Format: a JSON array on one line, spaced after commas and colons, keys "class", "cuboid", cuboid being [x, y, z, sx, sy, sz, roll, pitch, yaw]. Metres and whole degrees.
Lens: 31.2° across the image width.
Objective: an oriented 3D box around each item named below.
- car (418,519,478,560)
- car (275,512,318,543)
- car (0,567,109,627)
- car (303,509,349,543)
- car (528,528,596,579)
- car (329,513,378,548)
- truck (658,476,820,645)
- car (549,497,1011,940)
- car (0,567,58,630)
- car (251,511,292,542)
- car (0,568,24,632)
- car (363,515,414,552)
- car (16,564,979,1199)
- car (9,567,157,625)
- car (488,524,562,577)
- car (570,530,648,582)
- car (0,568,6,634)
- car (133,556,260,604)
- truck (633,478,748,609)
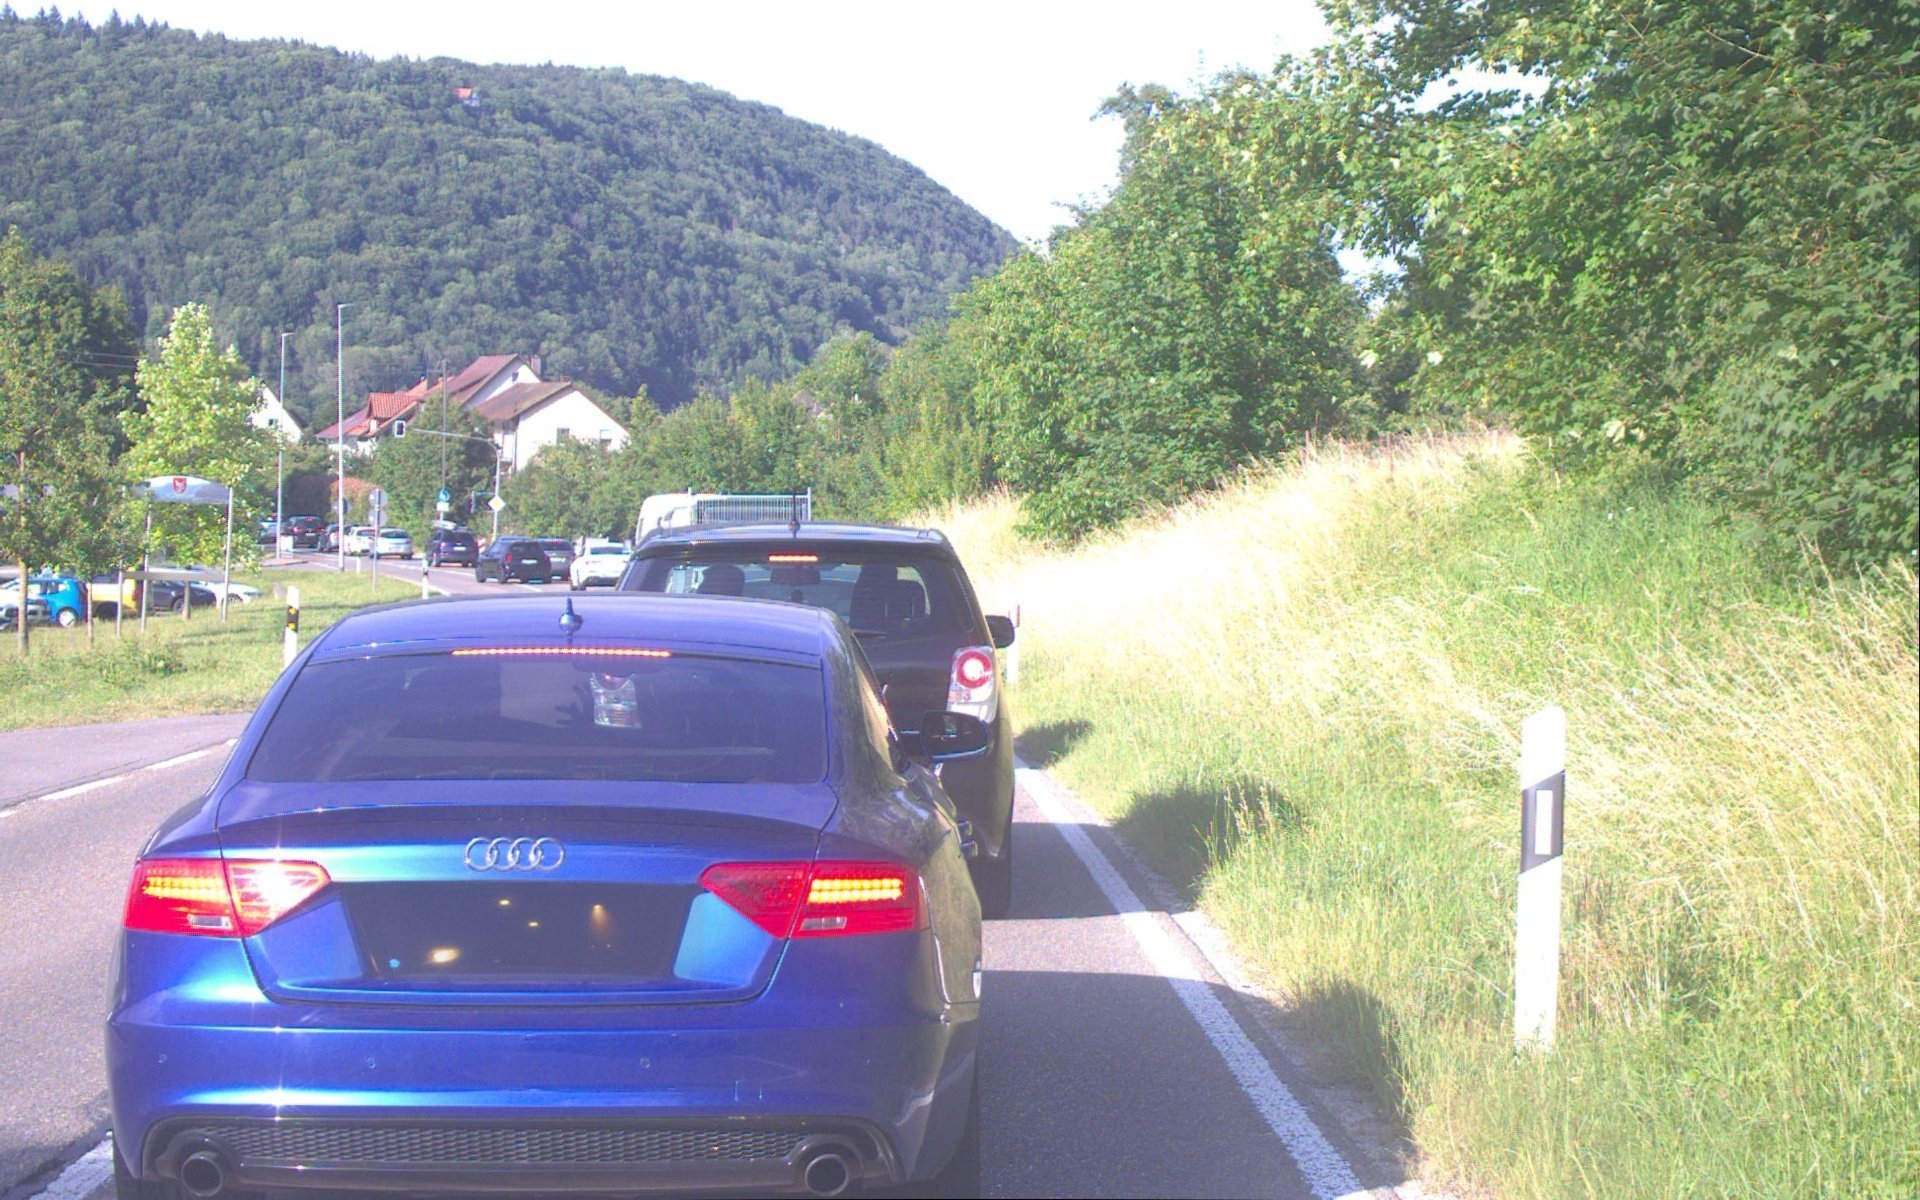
[{"class": "car", "cuboid": [-21.800, -2.569, 146.278, 1.845, 1.706, 4.001, 1, 1, -18]}, {"class": "car", "cuboid": [-36.764, -4.003, 190.382, 1.845, 1.706, 4.001, 1, 1, -18]}, {"class": "car", "cuboid": [-27.315, -0.112, 101.335, 3.986, 1.705, 2.000, 1, 0, -3]}, {"class": "car", "cuboid": [-33.555, -3.914, 181.861, 1.845, 1.706, 4.001, 1, 1, -19]}, {"class": "car", "cuboid": [-13.801, -1.597, 118.977, 1.845, 1.706, 4.001, 1, 0, -14]}, {"class": "car", "cuboid": [-30.405, -3.474, 172.244, 1.845, 1.706, 4.001, 1, 1, -18]}, {"class": "truck", "cuboid": [-3.639, -0.634, 55.616, 2.229, 2.561, 6.105, 1, 0, -7]}, {"class": "car", "cuboid": [-0.681, 0.436, 15.111, 1.754, 1.675, 3.846, 1, 0, 0]}, {"class": "car", "cuboid": [-27.305, -0.060, 95.548, 3.986, 1.705, 2.000, 1, 0, -3]}, {"class": "car", "cuboid": [-39.842, -4.257, 198.887, 1.845, 1.706, 4.001, 1, 1, -18]}, {"class": "car", "cuboid": [-27.368, -0.031, 92.264, 3.986, 1.705, 2.000, 1, 0, -3]}, {"class": "car", "cuboid": [-27.153, -3.125, 163.220, 1.845, 1.706, 4.001, 1, 1, -18]}, {"class": "car", "cuboid": [-0.842, 0.641, 8.235, 1.754, 1.425, 3.846, 1, 0, 0]}, {"class": "car", "cuboid": [-26.514, -0.126, 104.010, 3.986, 1.705, 2.000, 1, 0, -3]}, {"class": "car", "cuboid": [-14.368, -1.634, 113.447, 1.845, 1.706, 4.001, 1, 0, -15]}, {"class": "car", "cuboid": [-10.285, -1.284, 100.475, 1.845, 1.477, 4.001, 1, 0, -12]}, {"class": "car", "cuboid": [-26.846, 0.008, 88.607, 3.986, 1.705, 2.000, 1, 0, -3]}, {"class": "car", "cuboid": [-26.314, -0.696, 118.570, 3.986, 1.573, 1.753, 1, 0, -3]}, {"class": "truck", "cuboid": [-5.561, -1.142, 70.890, 2.229, 2.561, 6.709, 1, 0, -5]}]
